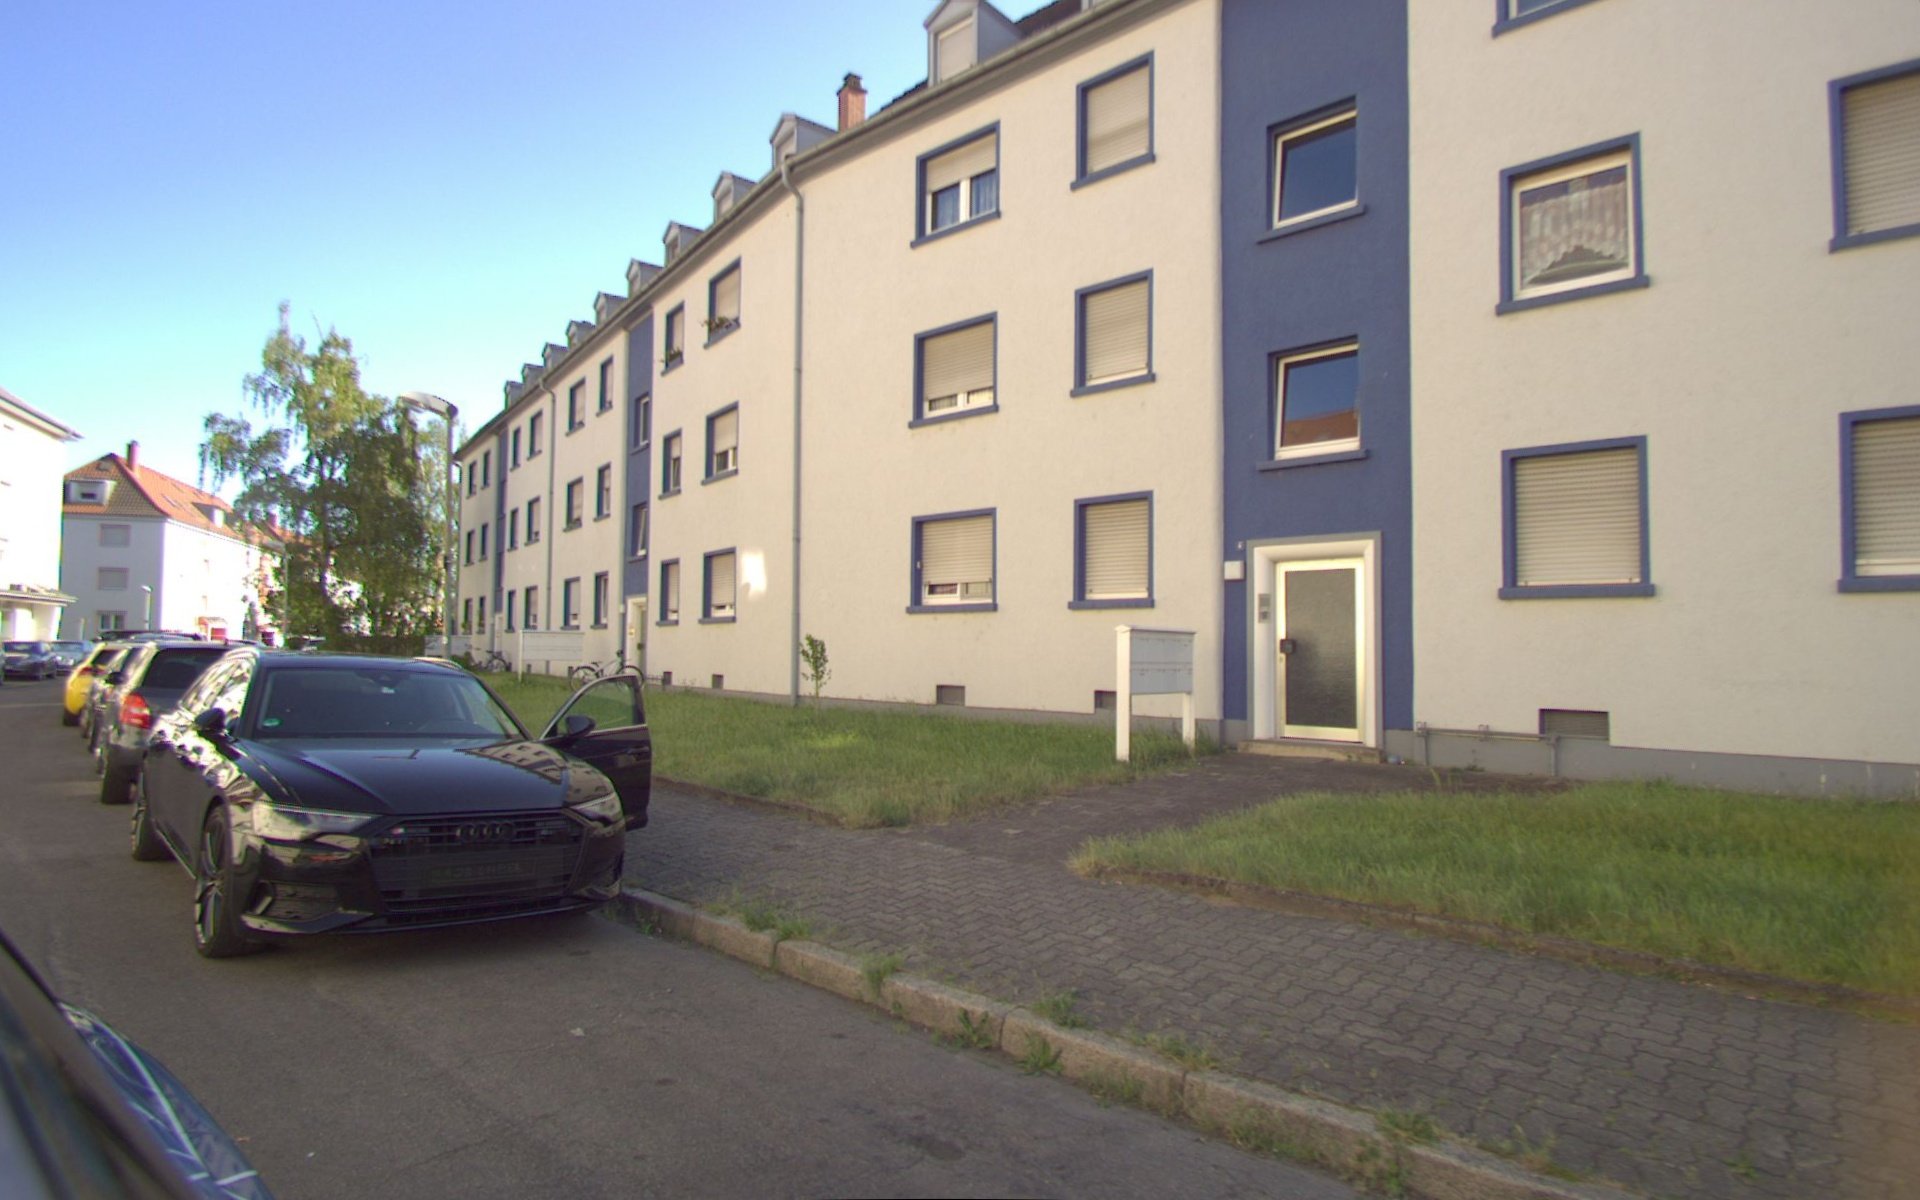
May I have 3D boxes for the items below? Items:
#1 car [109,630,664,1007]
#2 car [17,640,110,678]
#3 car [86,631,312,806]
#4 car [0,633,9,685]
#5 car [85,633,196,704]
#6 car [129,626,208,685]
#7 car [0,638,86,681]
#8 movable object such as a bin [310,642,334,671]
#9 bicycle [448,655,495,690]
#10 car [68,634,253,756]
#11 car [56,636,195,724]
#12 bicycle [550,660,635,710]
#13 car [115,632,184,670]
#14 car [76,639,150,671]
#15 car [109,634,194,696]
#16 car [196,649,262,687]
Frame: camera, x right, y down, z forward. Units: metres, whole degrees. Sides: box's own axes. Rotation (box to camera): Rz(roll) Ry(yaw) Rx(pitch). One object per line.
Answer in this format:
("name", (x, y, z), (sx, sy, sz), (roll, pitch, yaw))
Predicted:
("car", (-3.771, 0.982, 6.178), (1.723, 1.442, 4.601), (8, -7, -44))
("car", (-36.808, 2.398, 41.671), (1.654, 1.458, 4.739), (1, -3, -26))
("car", (-7.965, 1.123, 10.472), (1.460, 1.488, 3.636), (7, -6, -41))
("car", (-30.590, 1.809, 30.702), (1.671, 1.668, 4.402), (4, -4, -33))
("car", (-18.710, 1.553, 23.247), (1.671, 1.456, 4.029), (6, -6, -36))
("car", (-25.996, 1.822, 33.348), (1.534, 1.727, 4.349), (7, -6, -33))
("car", (-33.684, 2.105, 36.618), (1.670, 1.442, 4.703), (1, -3, -22))
("movable object such as a bin", (-32.721, 2.900, 51.916), (0.765, 1.403, 1.422), (3, -4, -22))
("bicycle", (-17.137, 2.549, 35.518), (1.390, 1.161, 0.416), (5, -5, -38))
("car", (-11.397, 1.294, 14.320), (1.550, 1.476, 4.265), (7, -7, -43))
("car", (-15.034, 1.430, 18.300), (1.672, 1.400, 4.163), (6, -6, -39))
("bicycle", (-8.520, 1.954, 23.483), (1.795, 1.086, 0.570), (0, -3, -31))
("car", (-41.900, 2.650, 52.409), (1.722, 1.838, 4.144), (4, -5, -24))
("car", (-39.403, 2.545, 47.194), (1.654, 1.418, 4.560), (1, -3, -27))
("car", (-22.107, 1.719, 27.794), (1.672, 1.572, 4.165), (2, -2, -37))
("car", (-31.255, 2.899, 43.357), (1.655, 1.453, 4.293), (6, -6, -28))
